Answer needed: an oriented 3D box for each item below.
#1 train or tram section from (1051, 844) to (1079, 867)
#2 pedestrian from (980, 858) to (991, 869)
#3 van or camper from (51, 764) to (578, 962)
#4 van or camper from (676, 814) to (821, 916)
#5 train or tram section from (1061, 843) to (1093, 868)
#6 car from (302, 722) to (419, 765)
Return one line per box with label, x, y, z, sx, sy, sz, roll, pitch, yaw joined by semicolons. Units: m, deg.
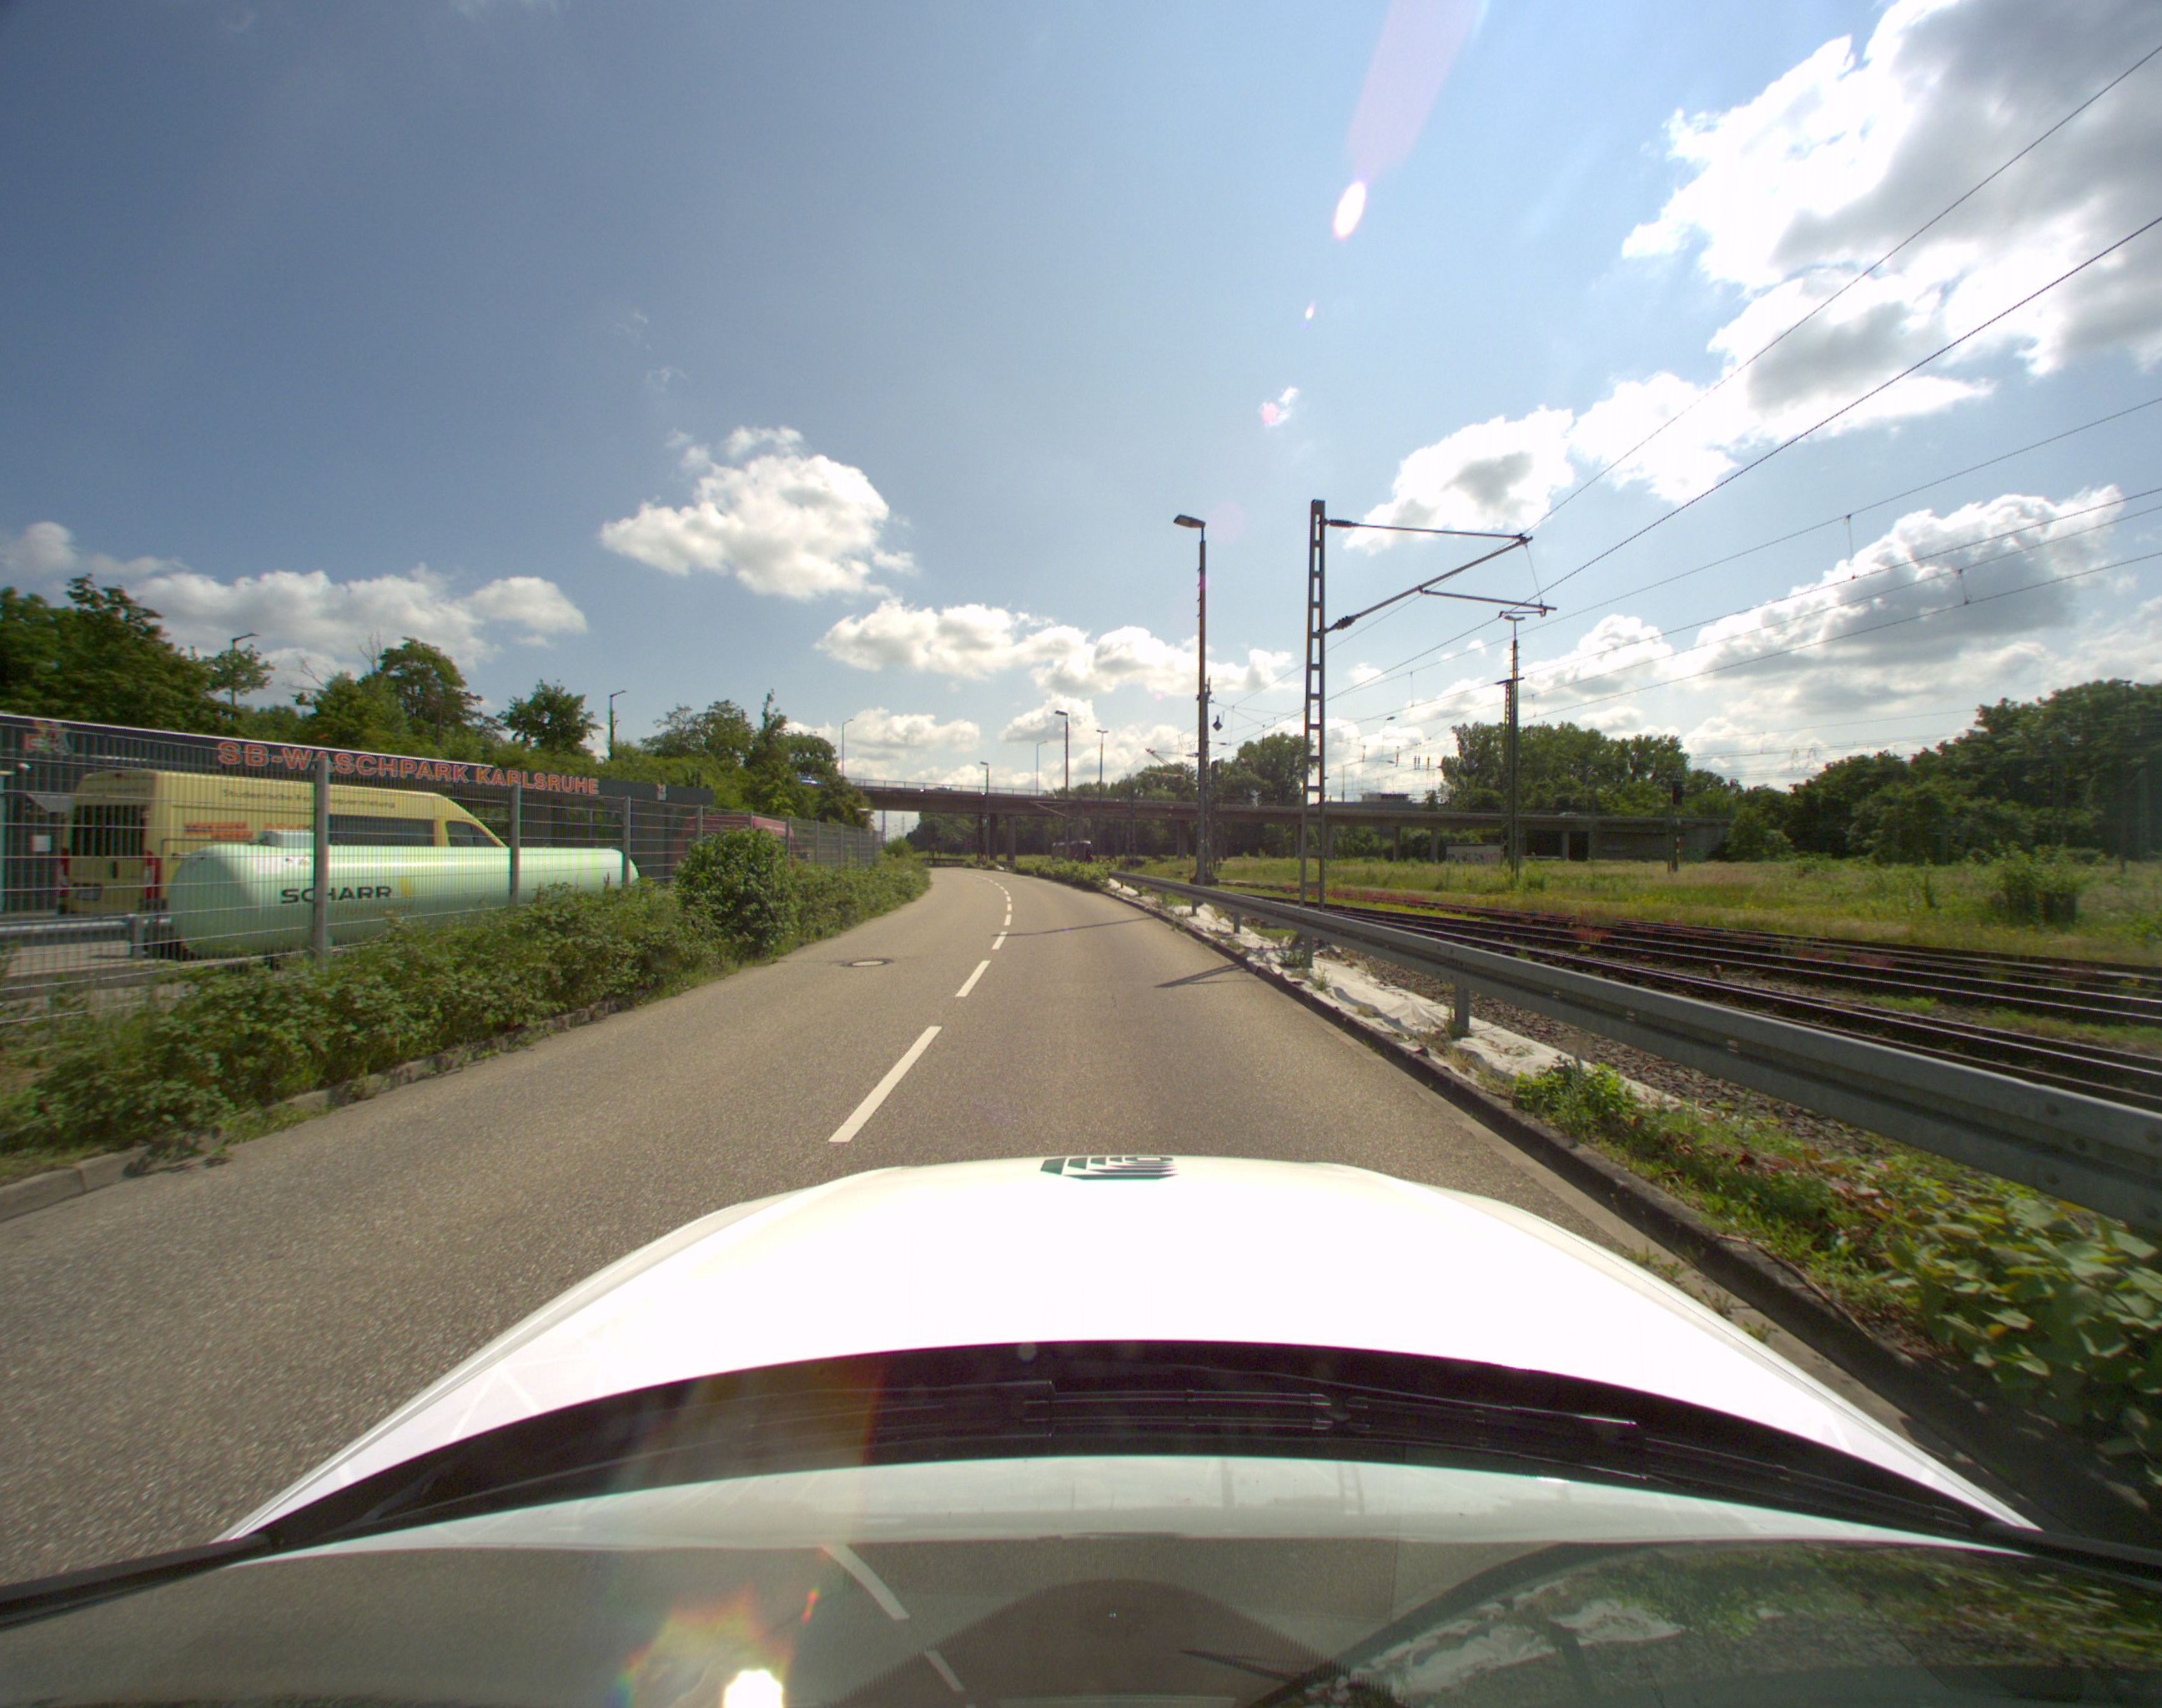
train or tram section;-2.649;0.280;131.035;2.760;3.477;8.199;0;-1;-14
pedestrian;-12.882;1.283;109.705;1.113;1.540;1.570;0;-1;-17
van or camper;-11.470;0.142;12.991;2.224;2.425;5.686;0;-1;19
van or camper;-9.395;0.280;23.661;2.184;2.514;5.692;-2;0;-5
train or tram section;-0.657;0.267;122.866;2.895;3.509;8.523;0;-1;-14
car;-46.730;-7.113;52.950;1.974;2.014;5.371;-3;-1;35
